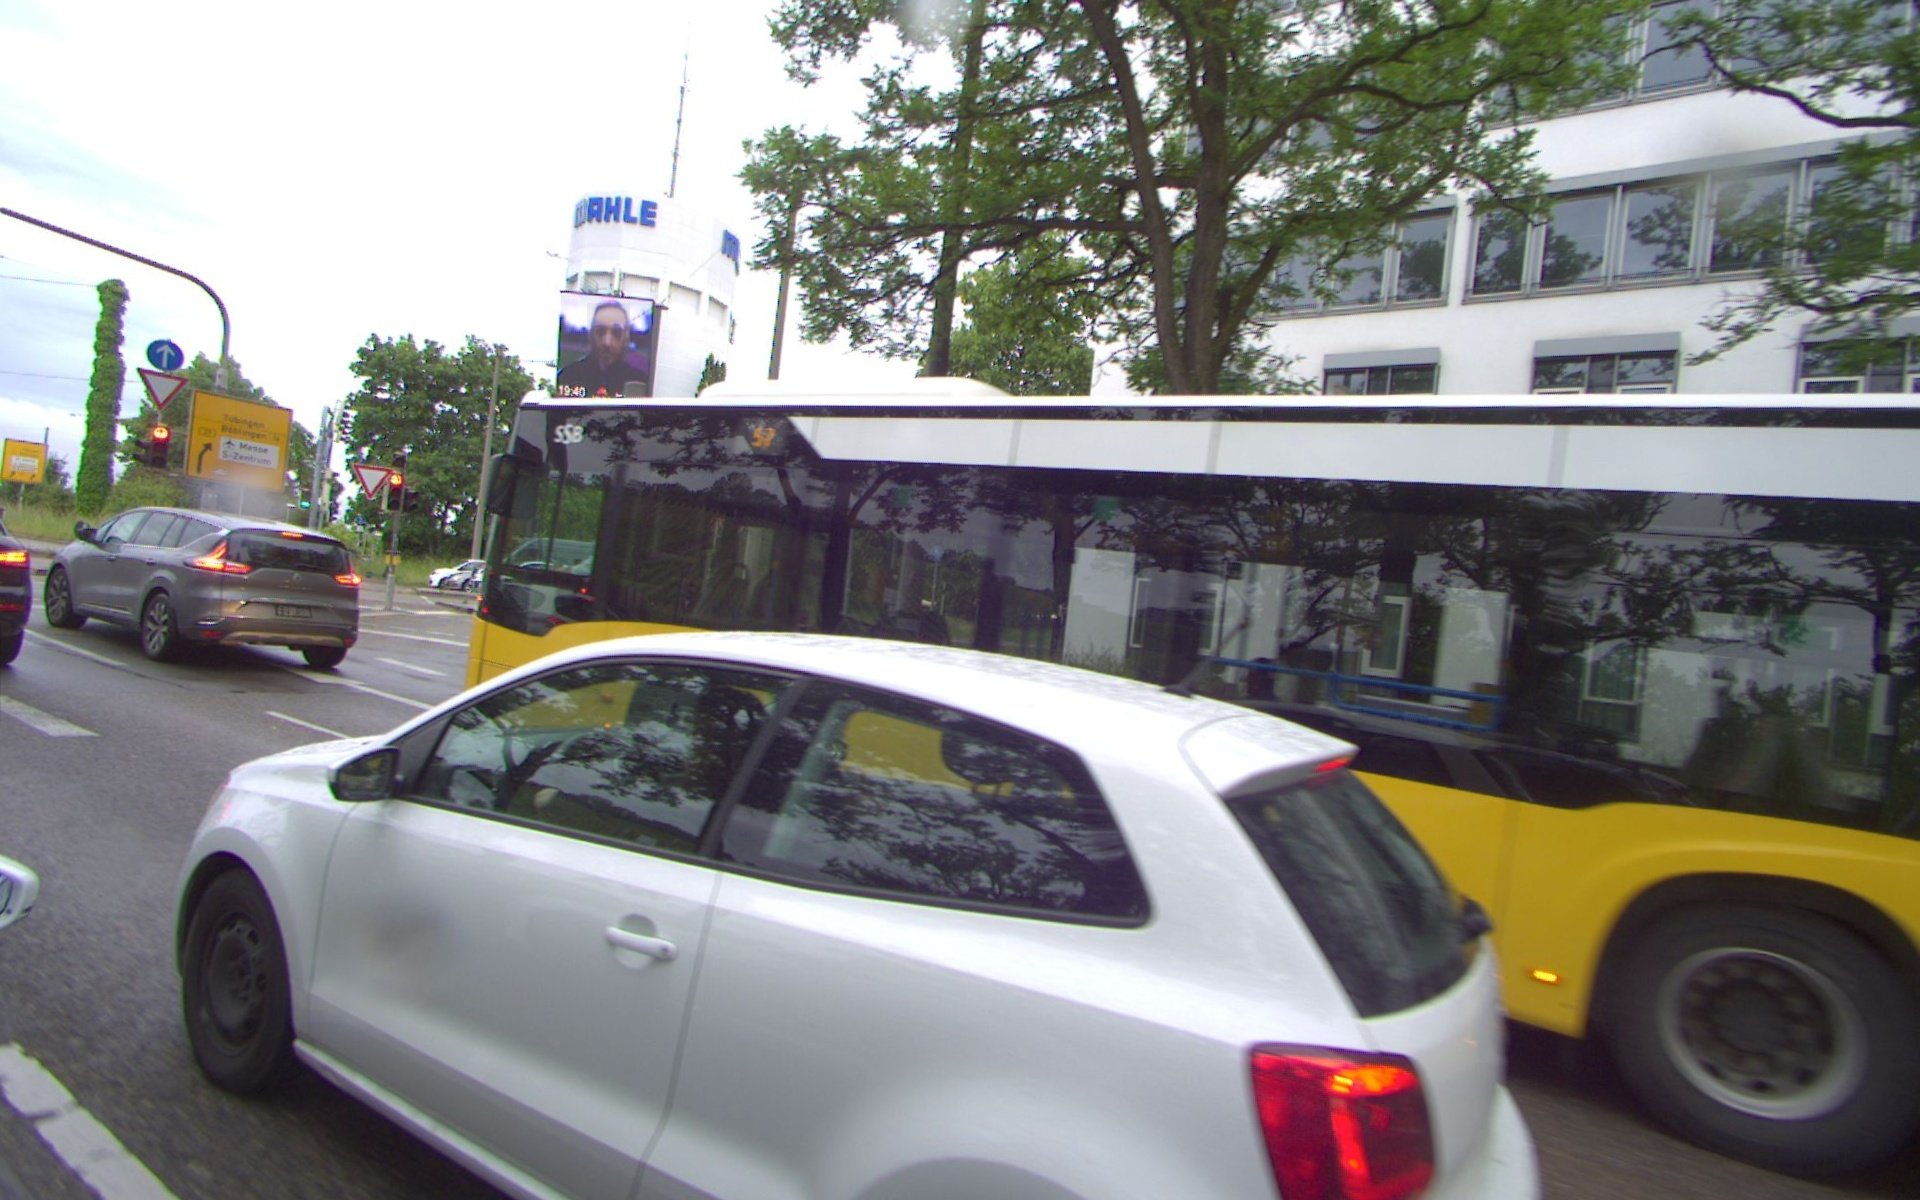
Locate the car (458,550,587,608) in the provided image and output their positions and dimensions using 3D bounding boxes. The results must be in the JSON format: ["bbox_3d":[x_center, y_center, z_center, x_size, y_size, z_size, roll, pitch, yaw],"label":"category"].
[{"bbox_3d":[-16.352,-0.742,37.662,4.026,1.586,1.855,9,-4,-35],"label":"car"}]

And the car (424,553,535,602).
[{"bbox_3d":[-21.591,-1.009,45.238,4.111,1.582,1.852,9,-2,-37],"label":"car"}]

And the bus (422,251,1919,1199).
[{"bbox_3d":[1.608,0.247,6.064,11.945,3.187,2.733,7,-2,32],"label":"bus"}]

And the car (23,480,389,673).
[{"bbox_3d":[-9.196,-0.315,12.184,4.489,1.694,1.869,7,-1,31],"label":"car"}]

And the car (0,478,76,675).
[{"bbox_3d":[-9.976,-0.434,8.989,4.046,1.613,1.889,6,-3,32],"label":"car"}]

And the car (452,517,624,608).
[{"bbox_3d":[-17.047,-1.438,40.794,5.970,2.772,2.065,8,-3,-32],"label":"car"}]

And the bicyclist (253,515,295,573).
[{"bbox_3d":[-20.700,-1.675,30.368,0.803,1.601,1.015,9,-2,-31],"label":"bicyclist"}]

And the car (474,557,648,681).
[{"bbox_3d":[-6.132,0.233,15.156,1.849,1.516,4.122,5,-1,-29],"label":"car"}]

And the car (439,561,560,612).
[{"bbox_3d":[-19.549,-0.553,42.790,4.342,1.537,1.714,9,-2,-35],"label":"car"}]

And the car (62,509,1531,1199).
[{"bbox_3d":[-0.596,0.709,2.914,3.747,1.447,1.746,6,-3,29],"label":"car"}]
